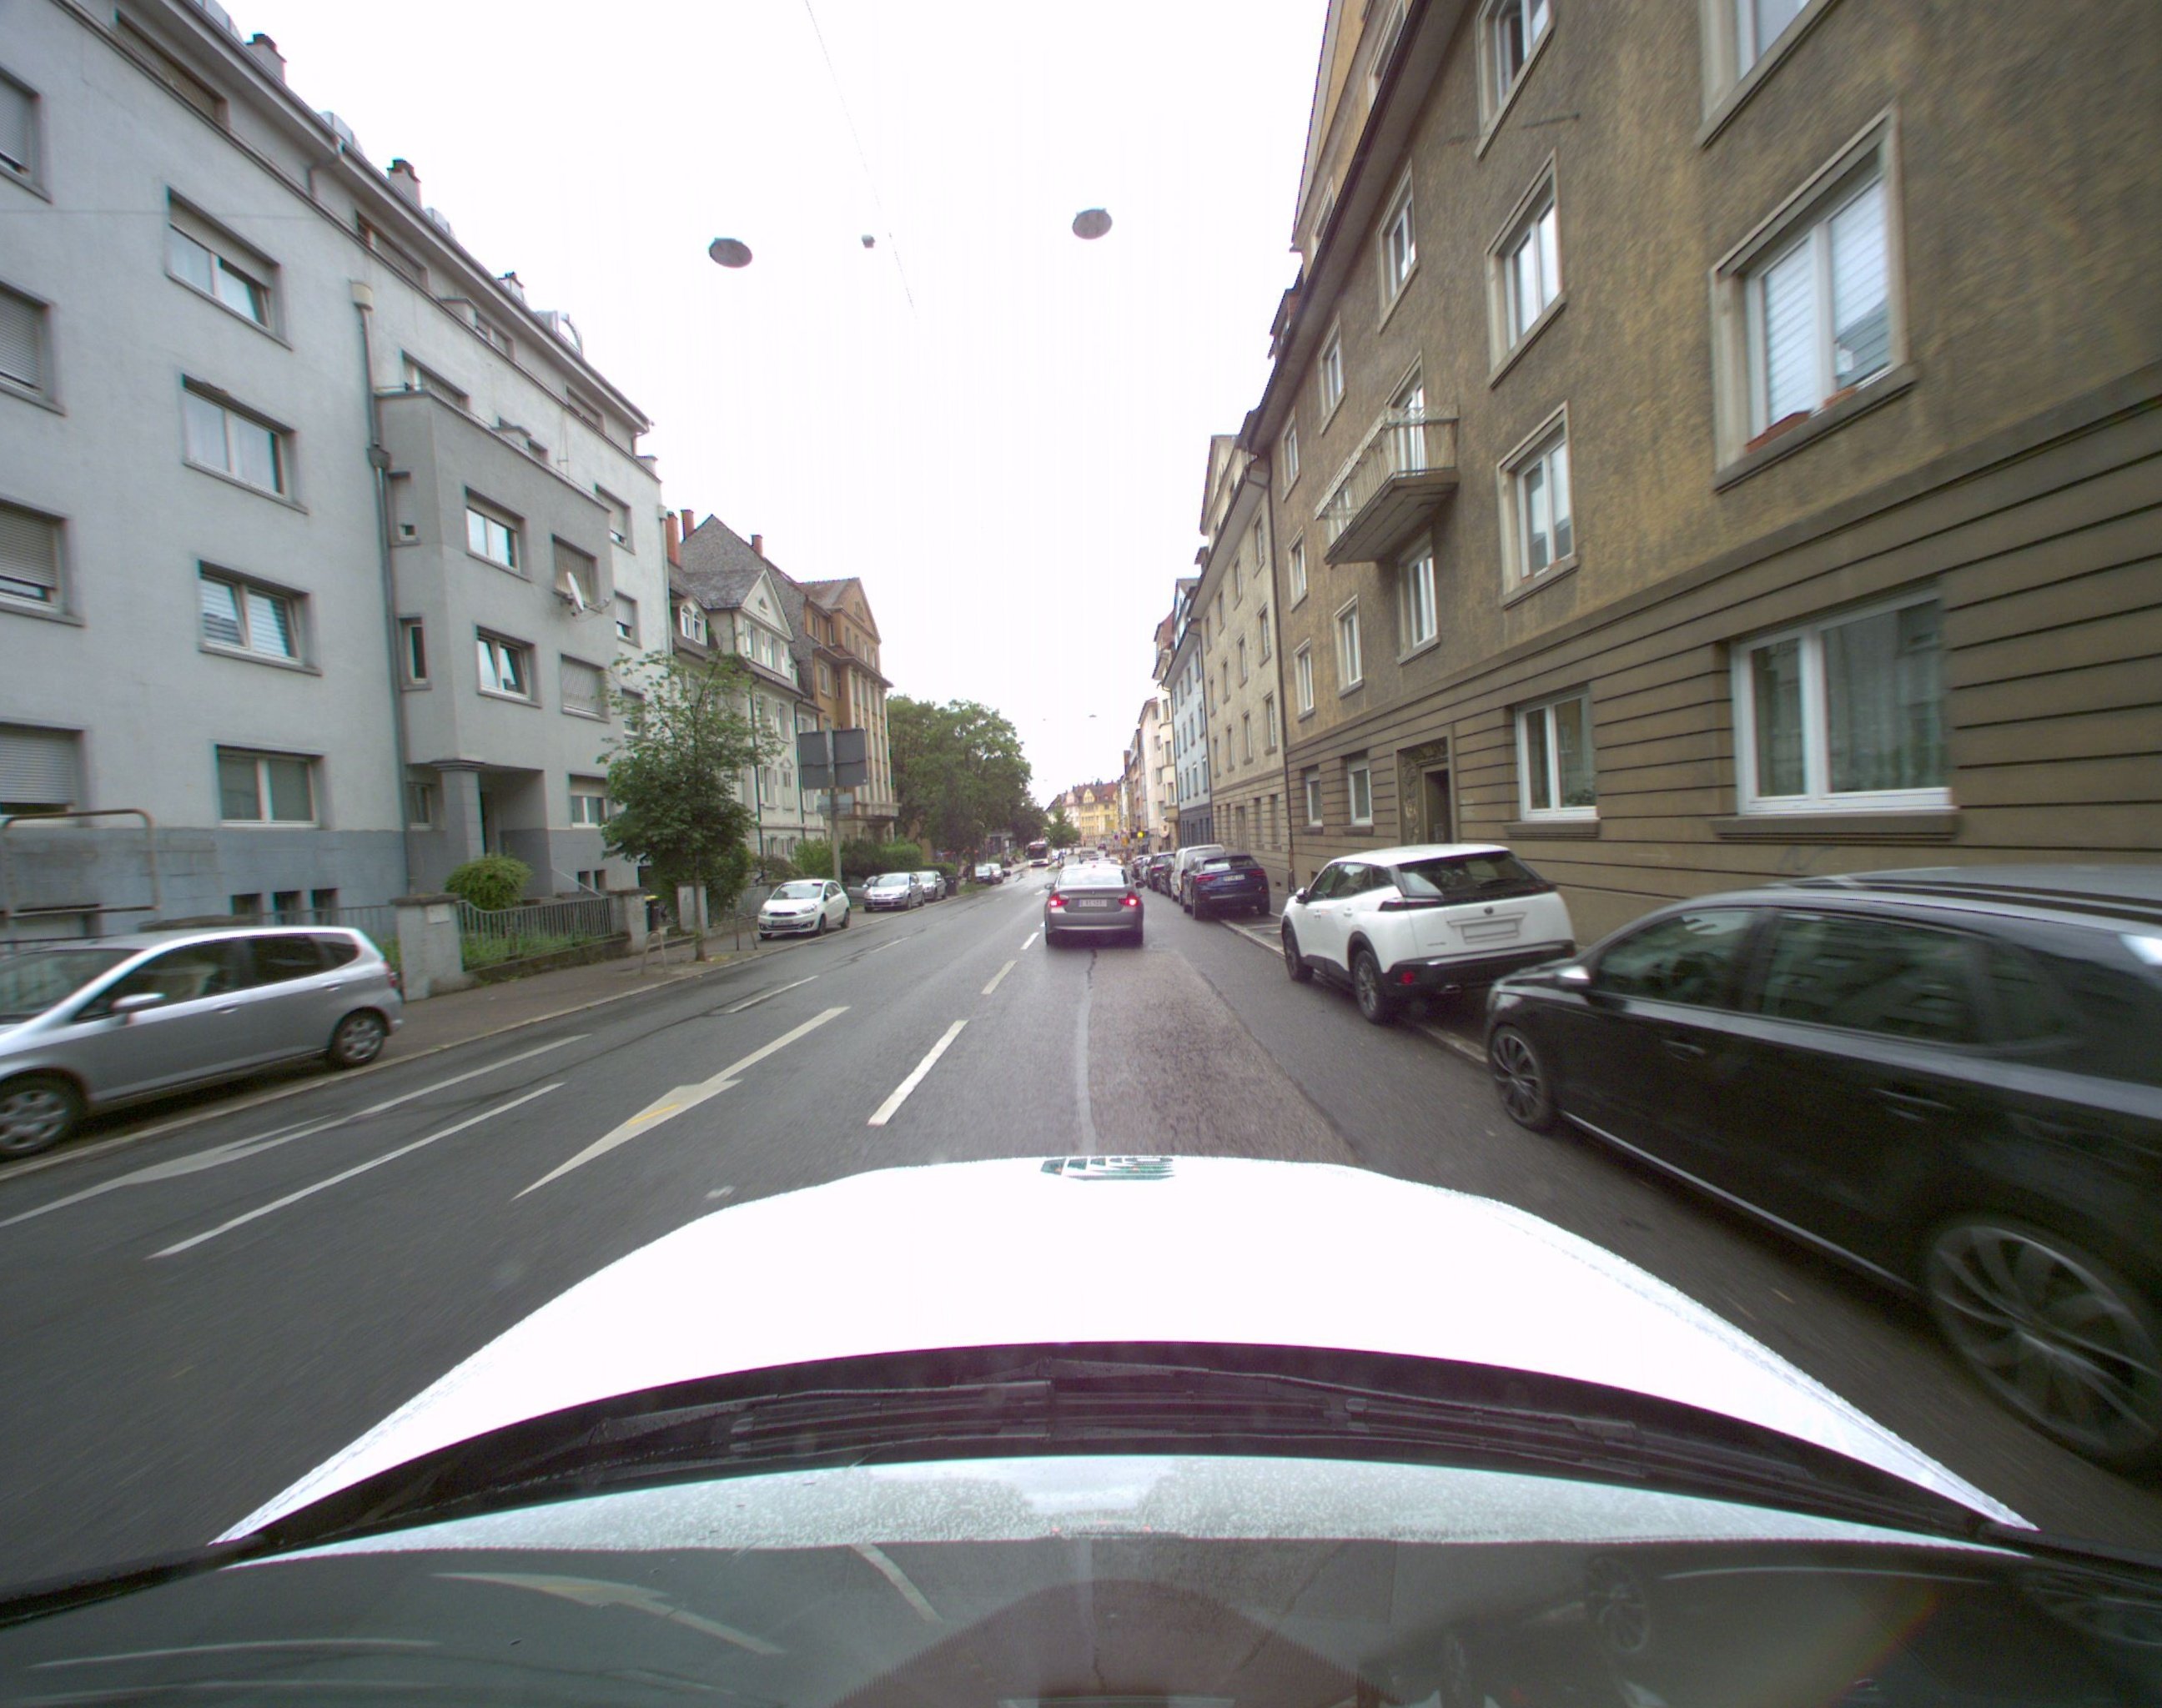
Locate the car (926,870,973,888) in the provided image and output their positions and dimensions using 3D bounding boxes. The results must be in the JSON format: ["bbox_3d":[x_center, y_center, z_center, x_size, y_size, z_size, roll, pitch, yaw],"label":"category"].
[{"bbox_3d":[-11.393,2.178,70.755,3.804,1.390,1.742,-2,-1,0],"label":"car"}]

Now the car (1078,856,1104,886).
[{"bbox_3d":[0.663,1.215,57.574,1.700,2.014,3.997,0,-1,-1],"label":"car"}]

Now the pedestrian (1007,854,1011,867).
[{"bbox_3d":[-9.387,0.852,106.114,0.542,1.709,0.465,0,-1,-6],"label":"pedestrian"}]

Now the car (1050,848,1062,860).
[{"bbox_3d":[-4.542,0.026,148.041,1.987,2.014,3.999,0,-1,0],"label":"car"}]

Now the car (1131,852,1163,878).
[{"bbox_3d":[4.396,0.724,54.890,1.811,1.557,4.294,-5,0,1],"label":"car"}]

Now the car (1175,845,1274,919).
[{"bbox_3d":[3.527,0.633,20.765,1.784,1.548,4.227,-5,0,2],"label":"car"}]

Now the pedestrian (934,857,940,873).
[{"bbox_3d":[-16.614,1.245,93.867,0.633,1.816,0.636,-3,0,-10],"label":"pedestrian"}]

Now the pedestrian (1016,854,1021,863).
[{"bbox_3d":[-9.358,0.638,121.773,0.617,1.378,0.545,0,-1,2],"label":"pedestrian"}]

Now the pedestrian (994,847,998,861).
[{"bbox_3d":[-11.375,-0.021,109.336,0.542,1.790,0.507,0,-1,-8],"label":"pedestrian"}]

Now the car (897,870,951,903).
[{"bbox_3d":[-7.427,1.515,38.923,1.676,1.390,3.937,-2,0,2],"label":"car"}]

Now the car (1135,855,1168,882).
[{"bbox_3d":[4.159,0.826,48.649,1.578,1.429,3.595,-6,0,1],"label":"car"}]

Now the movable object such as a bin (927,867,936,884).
[{"bbox_3d":[-9.552,1.383,52.009,0.425,1.040,0.650,-3,0,0],"label":"movable object such as a bin"}]

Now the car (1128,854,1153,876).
[{"bbox_3d":[4.461,0.839,61.565,1.563,1.464,4.090,-5,0,1],"label":"car"}]

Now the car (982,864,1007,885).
[{"bbox_3d":[-6.624,1.577,62.764,1.628,1.454,3.835,-3,0,-3],"label":"car"}]

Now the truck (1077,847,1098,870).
[{"bbox_3d":[0.746,0.520,90.078,2.209,2.544,4.779,0,-1,0],"label":"truck"}]

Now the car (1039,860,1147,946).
[{"bbox_3d":[0.225,0.843,15.087,1.750,1.362,3.165,-2,-1,1],"label":"car"}]

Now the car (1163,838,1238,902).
[{"bbox_3d":[3.871,0.495,26.999,1.784,1.817,4.080,-5,0,1],"label":"car"}]

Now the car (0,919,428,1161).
[{"bbox_3d":[-8.170,1.460,7.078,1.593,1.451,3.892,-3,-1,5],"label":"car"}]

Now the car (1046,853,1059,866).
[{"bbox_3d":[-4.592,0.873,132.205,1.987,2.014,3.999,-1,-1,0],"label":"car"}]

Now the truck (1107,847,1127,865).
[{"bbox_3d":[4.320,0.303,98.477,2.208,2.117,4.652,1,-1,1],"label":"truck"}]

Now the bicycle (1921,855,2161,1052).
[{"bbox_3d":[6.045,0.552,4.658,0.246,1.073,2.107,-5,-1,2],"label":"bicycle"}]

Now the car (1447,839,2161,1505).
[{"bbox_3d":[3.194,0.712,3.396,1.627,1.479,3.733,0,-1,-1],"label":"car"}]

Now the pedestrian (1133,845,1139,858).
[{"bbox_3d":[6.993,-0.356,103.150,0.747,1.661,0.755,-1,-1,4],"label":"pedestrian"}]

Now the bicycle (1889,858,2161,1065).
[{"bbox_3d":[5.798,0.574,4.634,0.246,1.073,2.107,-5,-1,2],"label":"bicycle"}]

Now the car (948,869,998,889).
[{"bbox_3d":[-8.993,2.078,67.942,3.800,1.389,1.744,-3,1,3],"label":"car"}]

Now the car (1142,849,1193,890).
[{"bbox_3d":[3.921,0.706,37.552,1.835,1.621,4.207,-5,-1,0],"label":"car"}]

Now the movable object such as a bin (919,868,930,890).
[{"bbox_3d":[-9.664,1.519,50.358,0.438,1.308,0.650,-3,0,0],"label":"movable object such as a bin"}]

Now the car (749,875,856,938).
[{"bbox_3d":[-7.676,1.405,22.799,1.641,1.508,3.795,-3,-1,0],"label":"car"}]

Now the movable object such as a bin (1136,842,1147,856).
[{"bbox_3d":[7.831,-0.655,105.507,1.119,1.702,1.433,-4,-1,-2],"label":"movable object such as a bin"}]

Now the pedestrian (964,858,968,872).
[{"bbox_3d":[-14.059,1.346,99.865,0.464,1.790,0.543,0,-1,-6],"label":"pedestrian"}]

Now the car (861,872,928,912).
[{"bbox_3d":[-7.472,1.483,32.984,1.676,1.390,3.910,-2,0,2],"label":"car"}]

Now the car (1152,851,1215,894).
[{"bbox_3d":[3.976,0.697,32.225,1.835,1.409,4.387,-5,0,0],"label":"car"}]

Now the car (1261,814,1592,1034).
[{"bbox_3d":[3.311,0.590,8.806,1.627,1.638,4.193,-6,0,-1],"label":"car"}]

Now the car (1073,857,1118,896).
[{"bbox_3d":[0.523,0.861,31.842,1.597,1.420,3.286,0,-1,-1],"label":"car"}]

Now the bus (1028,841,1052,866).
[{"bbox_3d":[-5.493,-0.030,111.780,2.672,3.201,11.953,0,-1,0],"label":"bus"}]

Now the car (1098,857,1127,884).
[{"bbox_3d":[1.674,0.885,43.139,1.430,1.357,3.764,0,-1,3],"label":"car"}]

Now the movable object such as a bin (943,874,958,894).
[{"bbox_3d":[-7.050,1.619,43.984,0.627,1.058,0.600,-4,-1,1],"label":"movable object such as a bin"}]

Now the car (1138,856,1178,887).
[{"bbox_3d":[4.164,0.889,44.300,1.723,1.429,3.974,-6,0,1],"label":"car"}]

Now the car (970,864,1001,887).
[{"bbox_3d":[-6.780,1.541,58.164,1.649,1.454,3.941,-3,0,-1],"label":"car"}]

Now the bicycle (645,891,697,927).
[{"bbox_3d":[-13.442,1.804,26.697,1.416,1.089,0.484,-3,0,1],"label":"bicycle"}]
